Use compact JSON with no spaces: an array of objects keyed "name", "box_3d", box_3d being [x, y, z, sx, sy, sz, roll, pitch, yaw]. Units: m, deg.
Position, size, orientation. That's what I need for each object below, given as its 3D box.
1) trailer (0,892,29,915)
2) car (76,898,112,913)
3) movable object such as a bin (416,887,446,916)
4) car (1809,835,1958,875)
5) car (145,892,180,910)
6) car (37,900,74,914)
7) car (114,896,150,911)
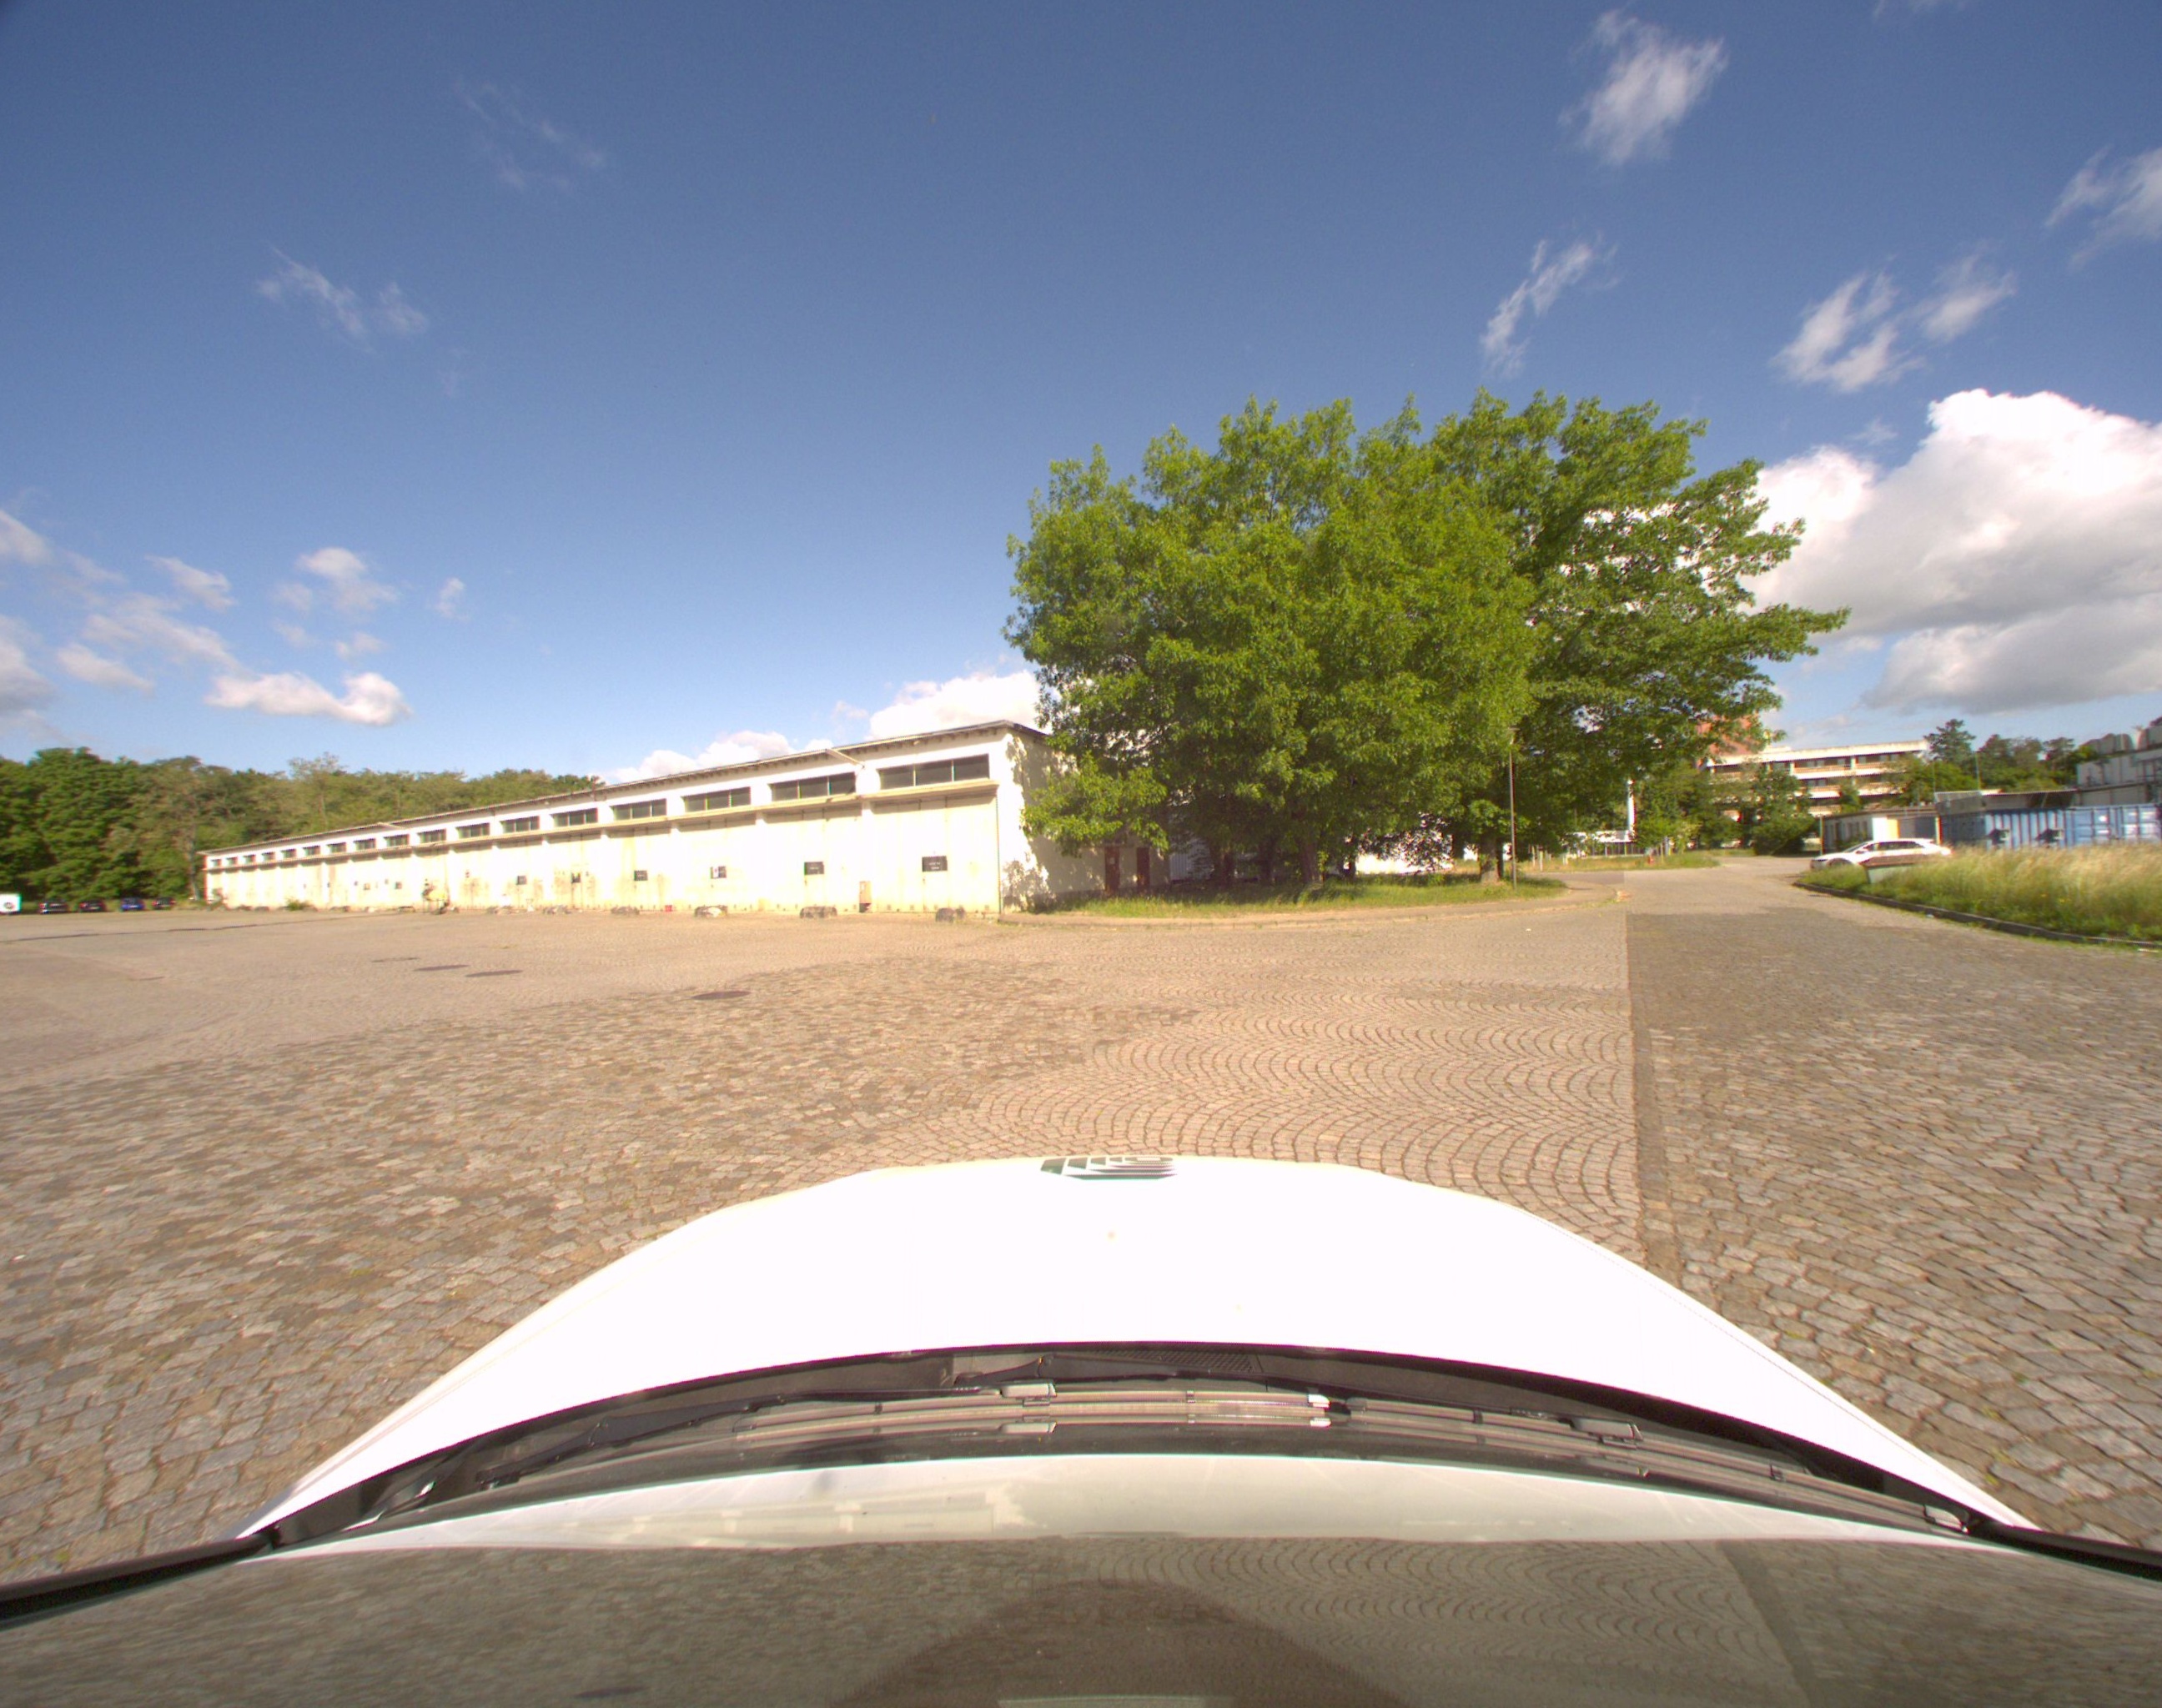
[{"name":"trailer","box_3d":[-106.902,4.979,81.296,4.374,2.162,2.013,-2,-1,33]},{"name":"car","box_3d":[-103.237,5.361,85.162,3.948,1.424,2.013,-2,-1,34]},{"name":"movable object such as a bin","box_3d":[-33.203,2.412,41.594,1.087,1.401,0.883,-3,-1,33]},{"name":"car","box_3d":[36.351,0.071,37.077,4.460,1.647,2.013,-3,-1,32]},{"name":"car","box_3d":[-101.447,5.209,89.983,3.948,1.772,2.013,-2,-1,34]},{"name":"car","box_3d":[-104.363,5.391,82.843,3.948,1.258,2.013,-2,-1,34]},{"name":"car","box_3d":[-101.761,5.302,87.323,3.948,1.466,2.013,-2,-1,34]}]
